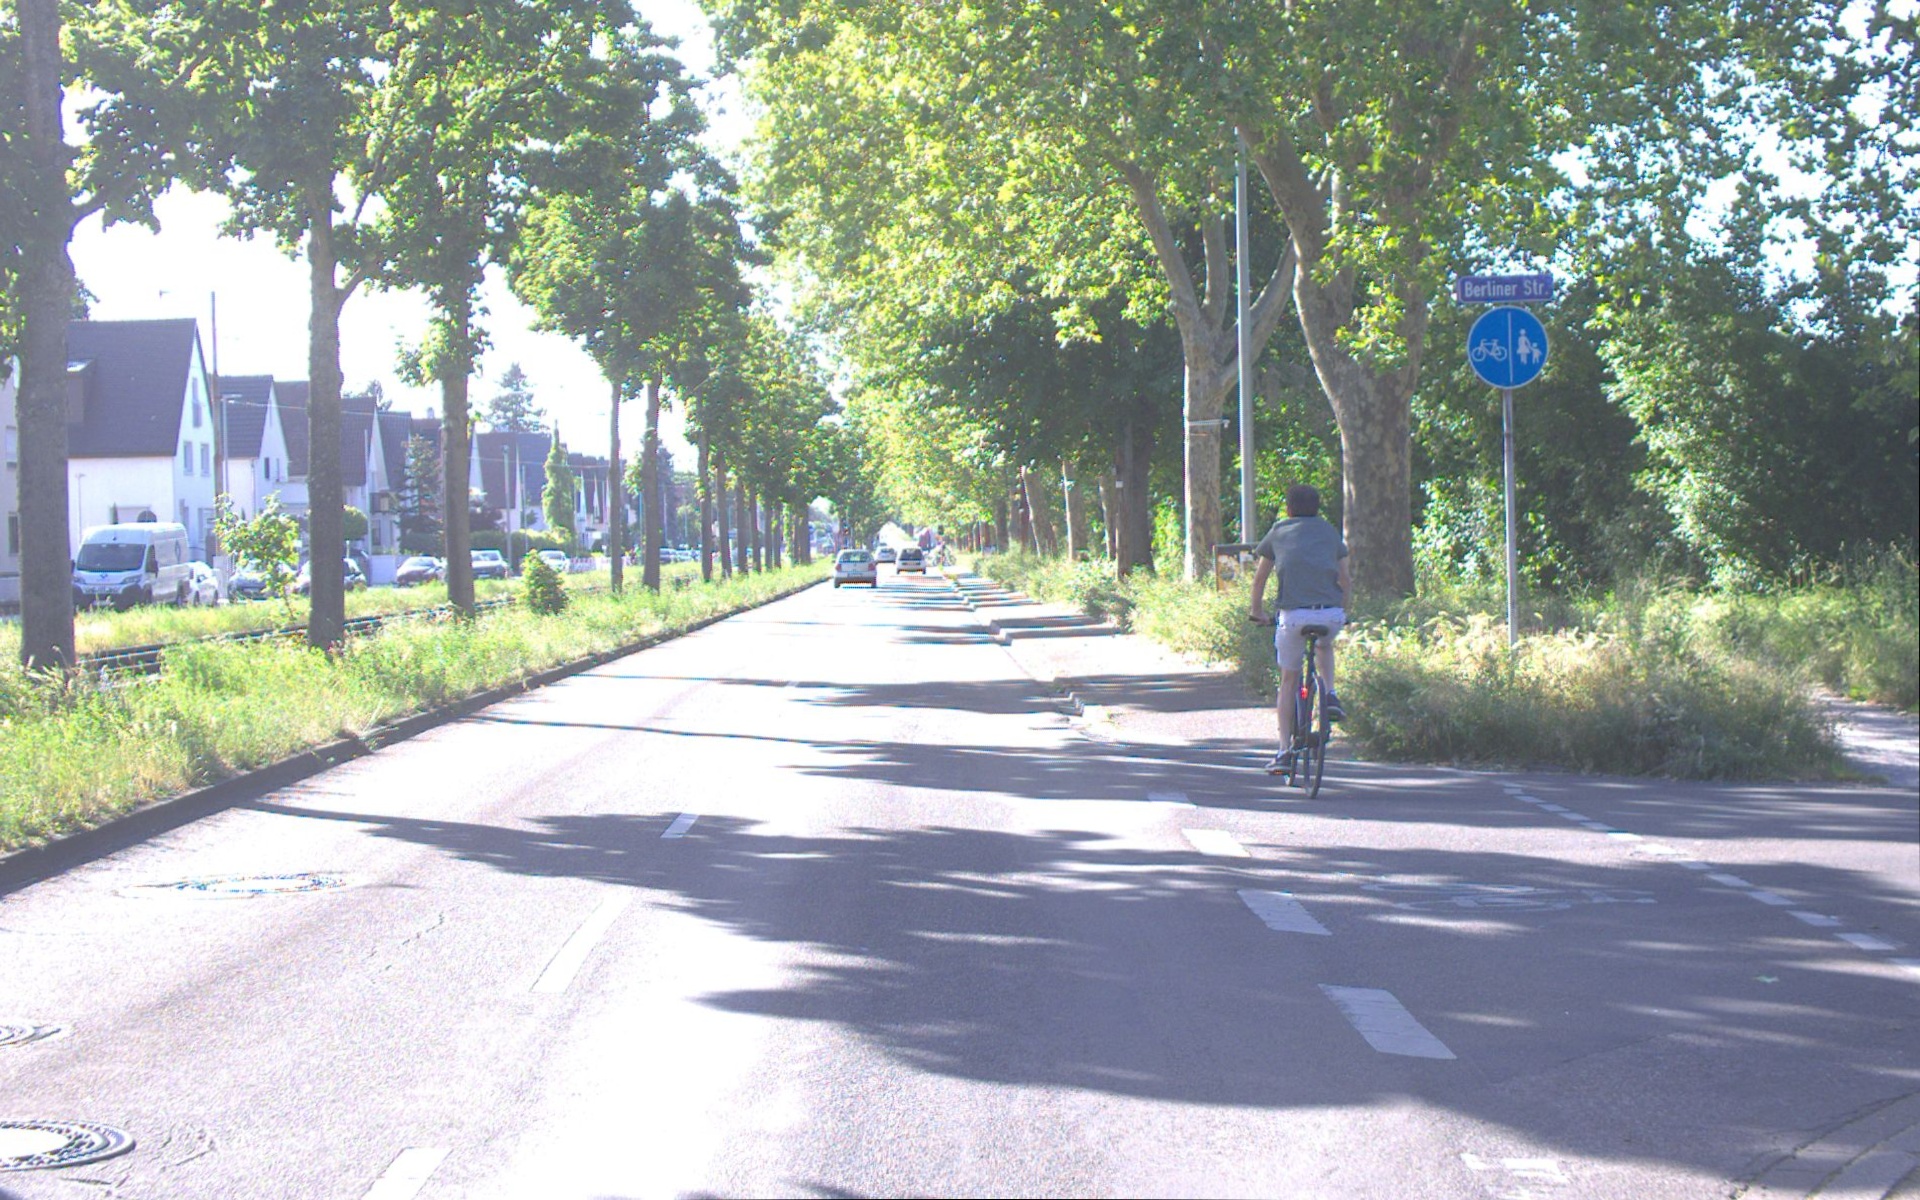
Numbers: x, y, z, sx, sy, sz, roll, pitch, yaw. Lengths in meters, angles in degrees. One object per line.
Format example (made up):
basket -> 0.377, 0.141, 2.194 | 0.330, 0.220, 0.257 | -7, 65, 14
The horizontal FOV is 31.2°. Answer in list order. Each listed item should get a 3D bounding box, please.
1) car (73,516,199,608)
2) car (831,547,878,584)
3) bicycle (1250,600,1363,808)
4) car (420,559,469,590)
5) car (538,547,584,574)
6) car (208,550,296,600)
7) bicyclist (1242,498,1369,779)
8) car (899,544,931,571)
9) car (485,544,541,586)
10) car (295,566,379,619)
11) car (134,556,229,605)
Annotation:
car -> -22.696, -1.044, 94.904 | 1.993, 2.451, 6.675 | 0, 0, -1
car -> -3.982, -1.299, 130.209 | 1.738, 1.396, 3.277 | 0, 0, -1
bicycle -> 2.052, 0.591, 20.509 | 0.440, 1.149, 1.823 | -1, 1, -1
car -> -22.845, -1.137, 152.406 | 1.494, 1.321, 4.000 | 0, 0, 1
car -> -24.151, -2.367, 208.267 | 1.994, 1.593, 4.731 | 0, 0, 3
car -> -23.491, -0.845, 114.280 | 1.993, 1.576, 4.498 | 0, 1, 0
bicyclist -> 2.054, 0.221, 20.498 | 0.613, 1.623, 0.909 | -1, 1, -1
car -> -2.490, -2.347, 191.621 | 1.761, 1.508, 3.277 | 0, 0, 0
car -> -20.112, -1.560, 154.920 | 1.915, 1.876, 4.524 | 0, 0, 0
car -> -17.648, -0.233, 97.564 | 1.676, 1.405, 4.000 | -1, 1, -1
car -> -22.768, -0.581, 100.671 | 1.824, 1.407, 4.658 | 0, 0, -1
